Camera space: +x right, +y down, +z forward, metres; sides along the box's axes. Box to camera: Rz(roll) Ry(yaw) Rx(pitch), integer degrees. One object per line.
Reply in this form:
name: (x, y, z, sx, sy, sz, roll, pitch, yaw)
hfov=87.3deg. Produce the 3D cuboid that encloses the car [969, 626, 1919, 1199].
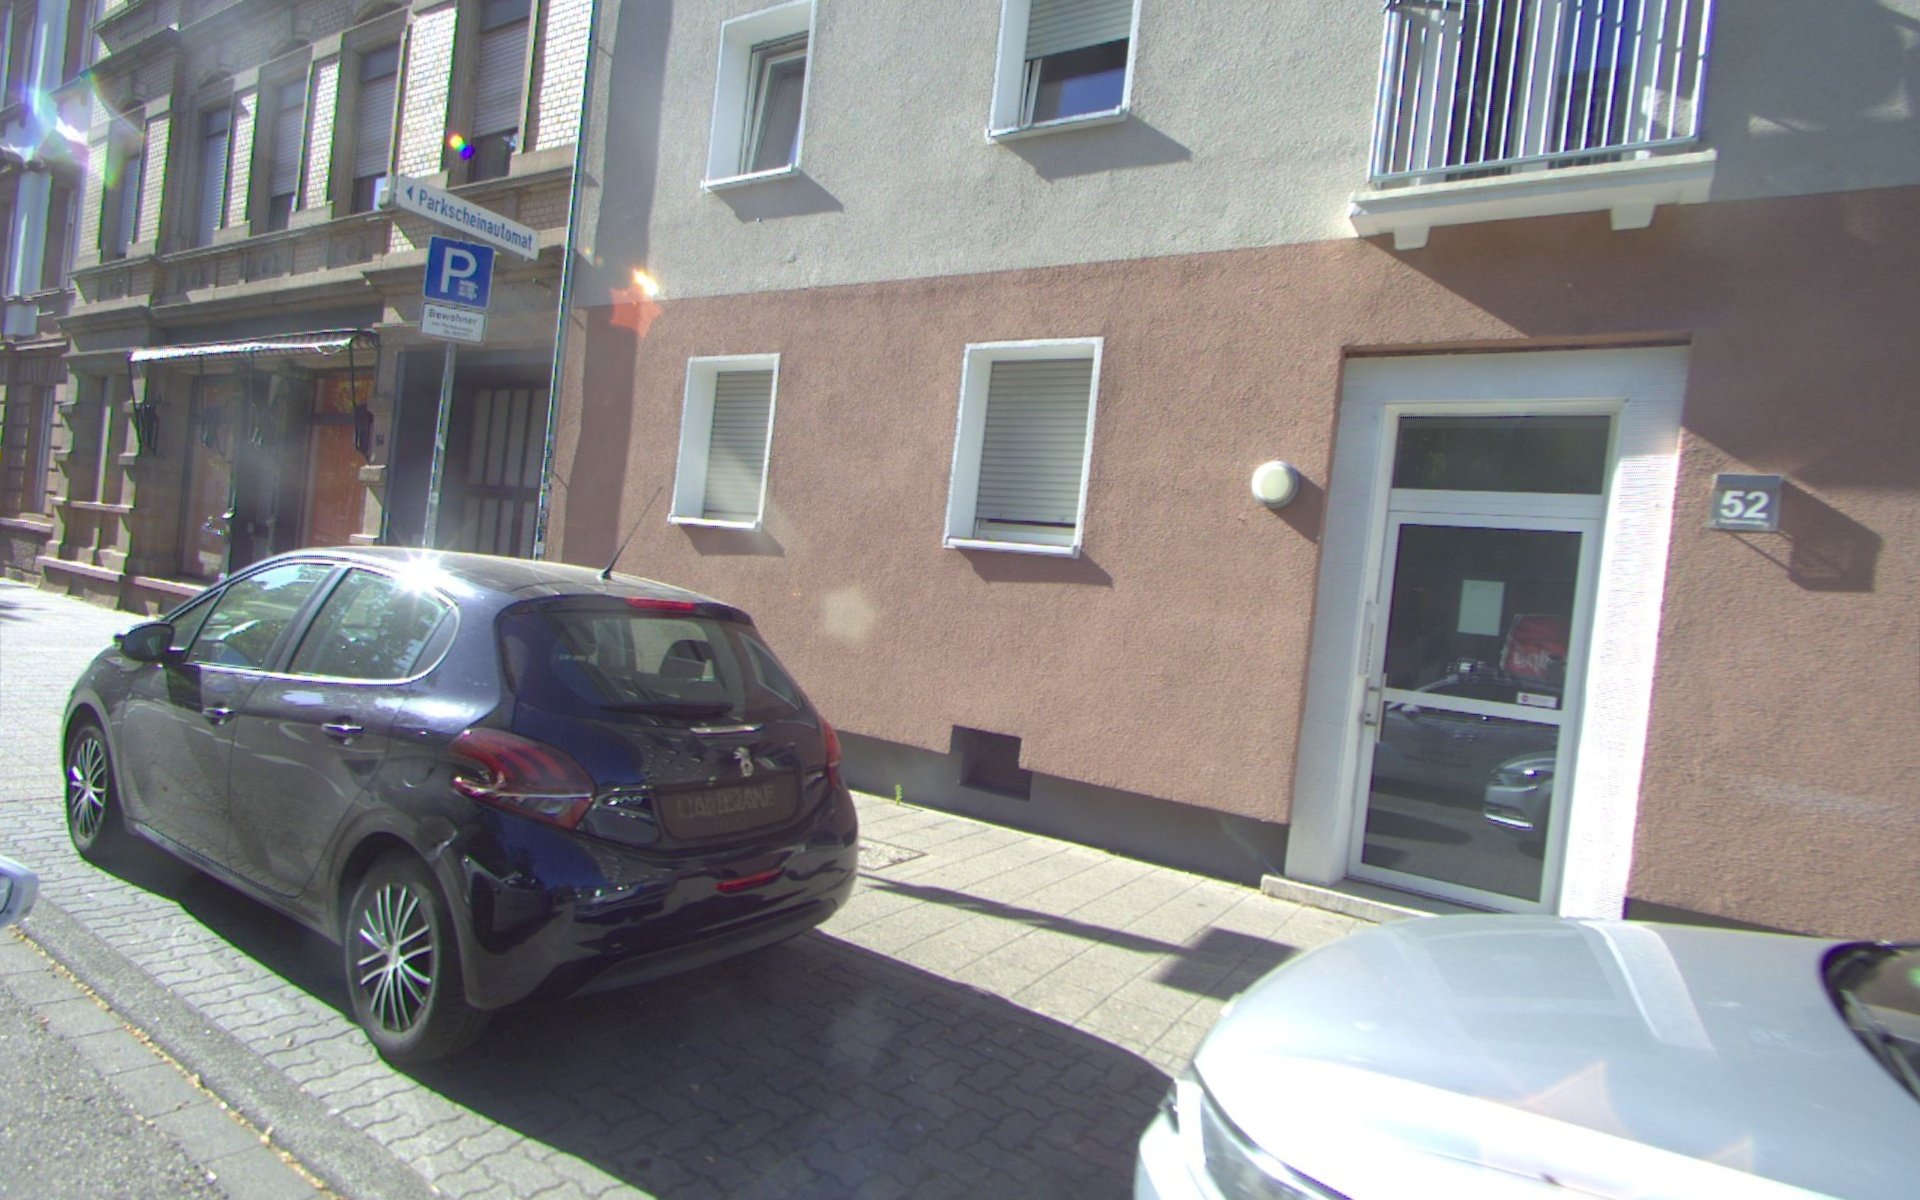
car: (2.348, 1.026, 1.142, 4.445, 1.479, 1.785, 6, 1, 35)

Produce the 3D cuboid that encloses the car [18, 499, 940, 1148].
car: (-2.136, 0.524, 4.219, 3.649, 1.498, 1.711, 6, 0, 32)
